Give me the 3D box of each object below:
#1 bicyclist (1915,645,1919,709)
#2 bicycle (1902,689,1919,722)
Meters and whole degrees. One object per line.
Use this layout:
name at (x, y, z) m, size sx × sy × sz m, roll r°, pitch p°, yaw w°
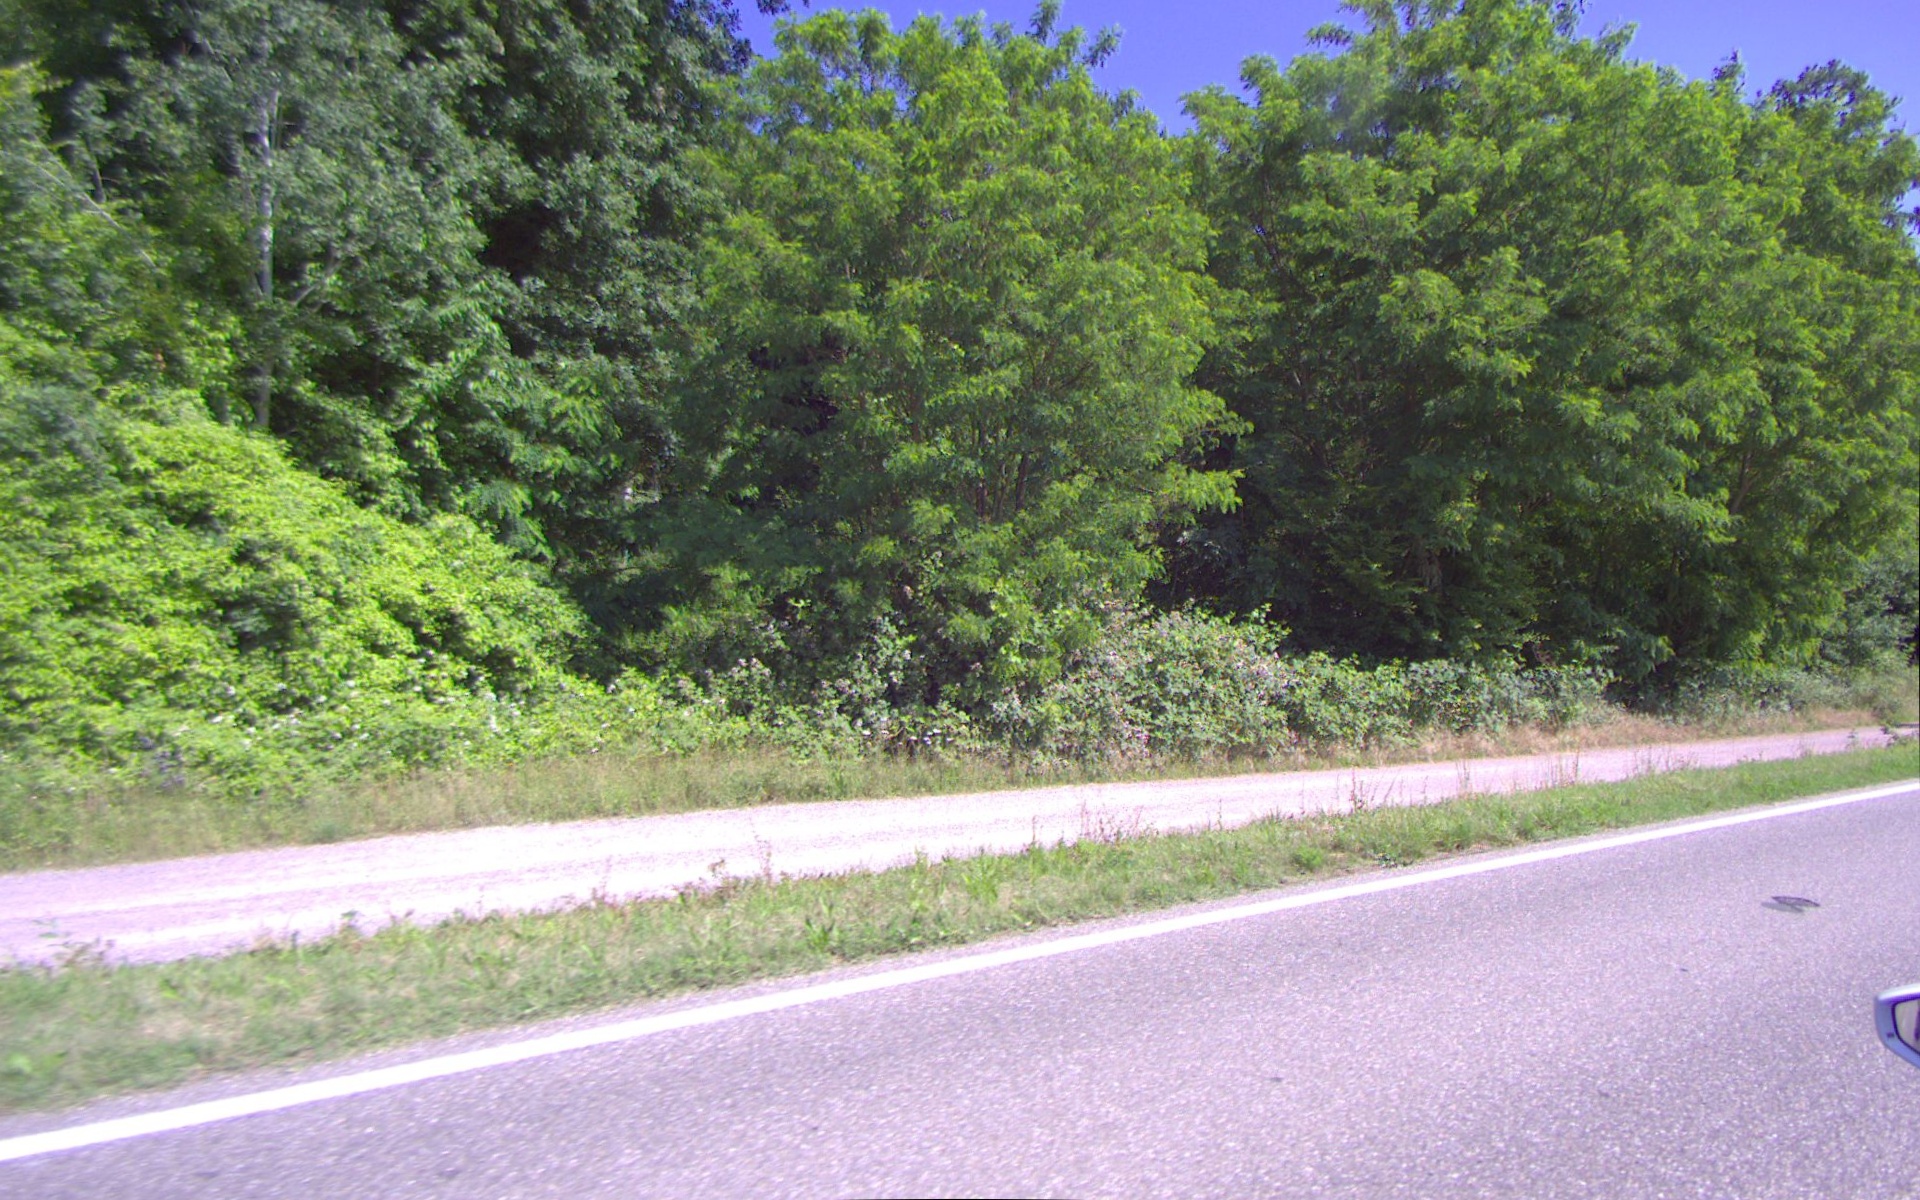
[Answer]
bicyclist at (22.031, 1.762, 22.569) m, size 0.694 × 1.434 × 0.602 m, roll 3°, pitch 0°, yaw -30°
bicycle at (21.999, 2.389, 22.575) m, size 2.112 × 0.690 × 0.616 m, roll 4°, pitch -1°, yaw -31°
